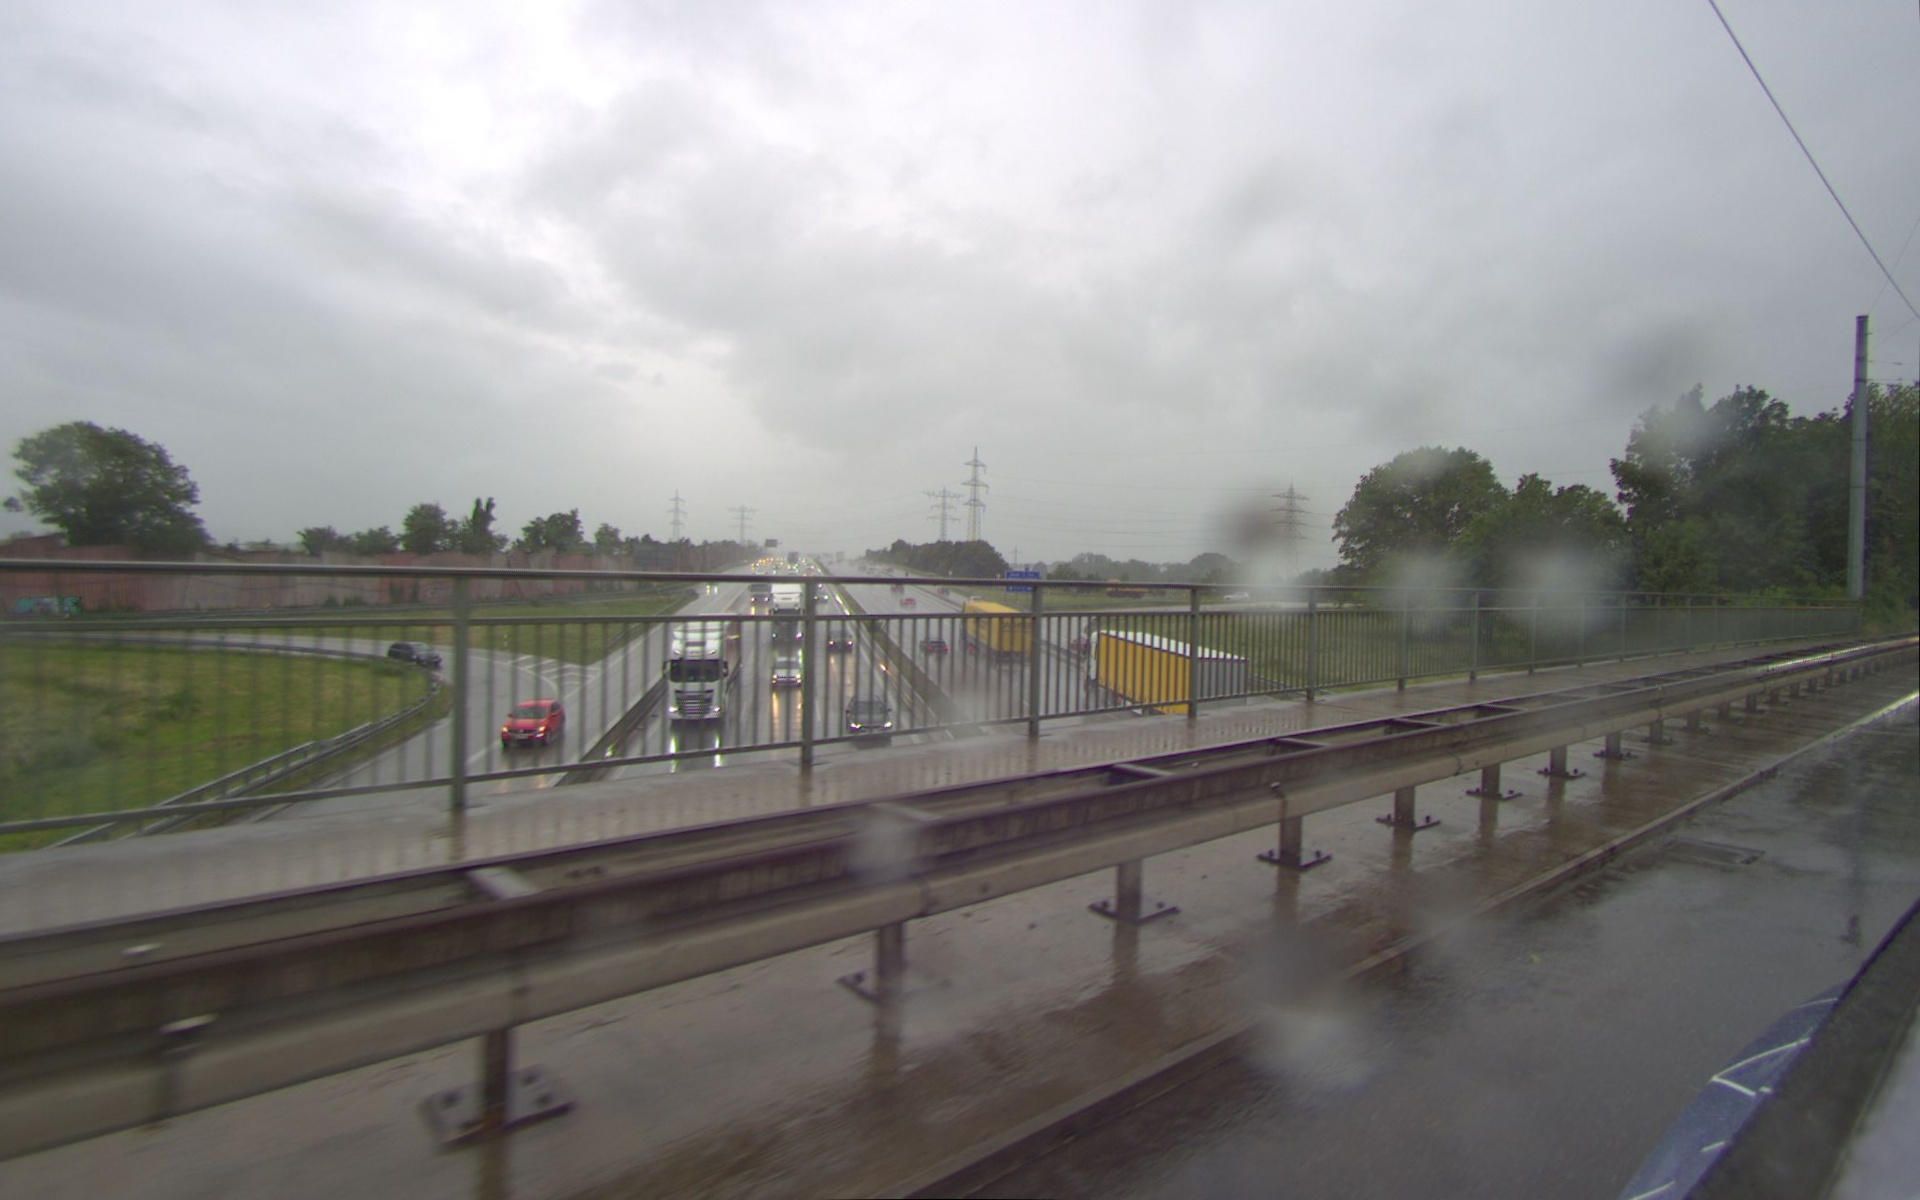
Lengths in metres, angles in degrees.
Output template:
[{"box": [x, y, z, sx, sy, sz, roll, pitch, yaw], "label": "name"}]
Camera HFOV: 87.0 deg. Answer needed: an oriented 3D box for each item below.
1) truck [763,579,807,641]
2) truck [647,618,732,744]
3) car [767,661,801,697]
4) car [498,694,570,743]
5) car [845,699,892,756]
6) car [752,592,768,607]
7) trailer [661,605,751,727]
[{"box": [-14.843, 0.672, 86.683, 3.079, 4.496, 12.405, -1, 3, -7], "label": "truck"}, {"box": [-12.838, 3.703, 48.566, 3.079, 5.176, 5.816, -1, 3, -7], "label": "truck"}, {"box": [-10.285, 4.606, 59.336, 1.769, 1.517, 4.008, -2, 3, -8], "label": "car"}, {"box": [-17.521, 4.833, 41.752, 1.769, 1.605, 4.004, -2, -2, -8], "label": "car"}, {"box": [-4.025, 5.471, 43.881, 1.769, 1.603, 4.009, -2, 4, -8], "label": "car"}, {"box": [-25.629, -0.094, 129.673, 1.832, 1.856, 3.875, 0, 0, -7], "label": "car"}, {"box": [-13.665, 3.226, 55.713, 3.079, 5.008, 13.871, -1, 3, -7], "label": "trailer"}]
